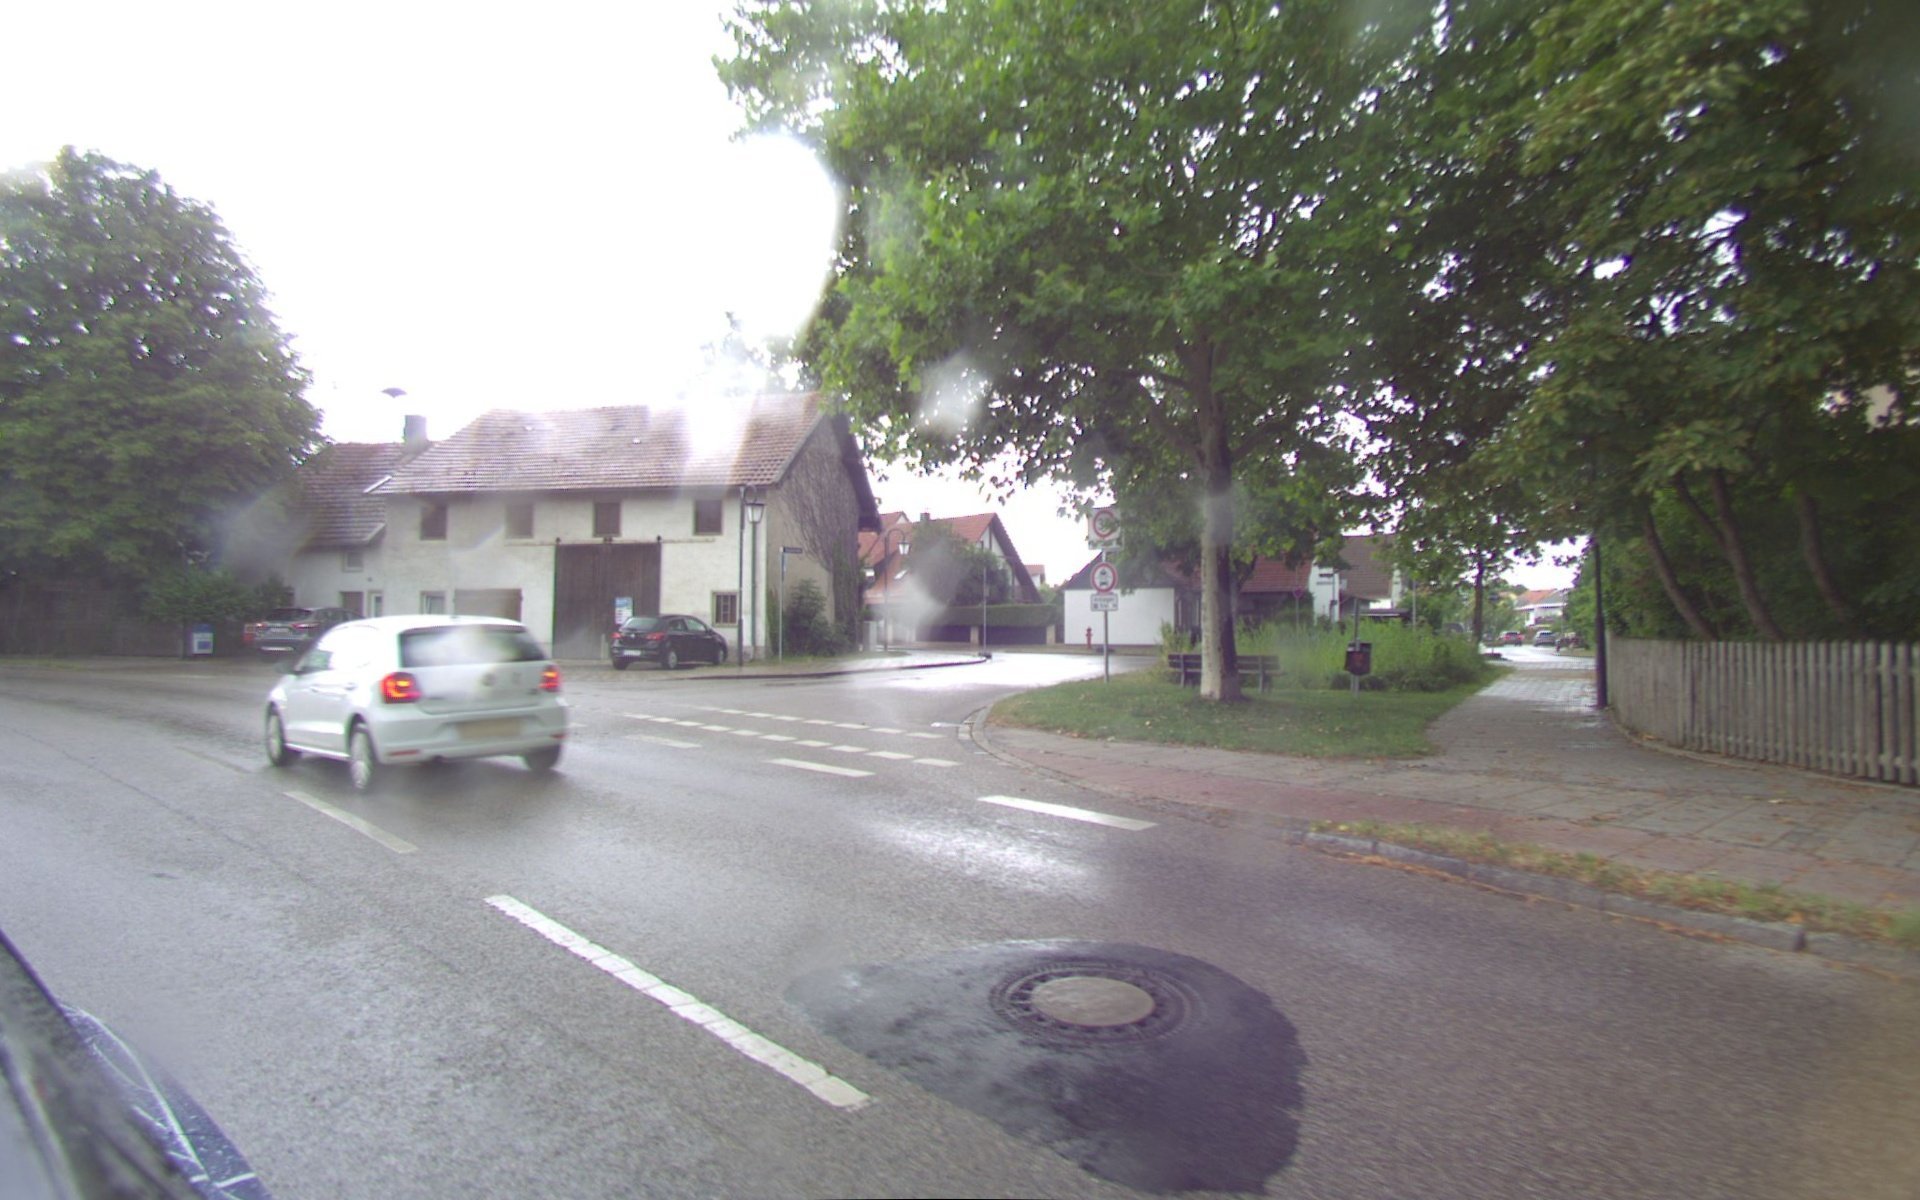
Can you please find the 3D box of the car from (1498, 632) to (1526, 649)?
[{"bbox_3d":[54.982,4.010,100.870,1.987,1.453,3.970,0,0,22],"label":"car"}]

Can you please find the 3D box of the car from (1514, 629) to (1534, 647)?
[{"bbox_3d":[66.390,4.459,119.155,1.991,2.029,3.961,0,0,29],"label":"car"}]

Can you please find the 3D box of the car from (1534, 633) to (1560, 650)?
[{"bbox_3d":[58.678,4.153,101.183,1.990,1.453,3.963,0,0,27],"label":"car"}]

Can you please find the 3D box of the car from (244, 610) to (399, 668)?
[{"bbox_3d":[-18.284,1.150,29.248,1.792,1.560,4.281,0,-3,-1],"label":"car"}]

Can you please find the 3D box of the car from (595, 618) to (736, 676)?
[{"bbox_3d":[-7.867,1.208,27.489,1.803,1.447,4.262,0,-1,14],"label":"car"}]

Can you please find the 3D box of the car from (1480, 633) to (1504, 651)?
[{"bbox_3d":[50.440,3.969,96.013,1.990,1.453,3.963,0,0,27],"label":"car"}]

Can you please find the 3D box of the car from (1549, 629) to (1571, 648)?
[{"bbox_3d":[70.090,4.448,118.272,1.991,2.029,3.961,0,0,29],"label":"car"}]

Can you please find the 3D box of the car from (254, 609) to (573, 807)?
[{"bbox_3d":[-5.203,0.826,9.427,3.672,1.455,1.600,0,0,44],"label":"car"}]
